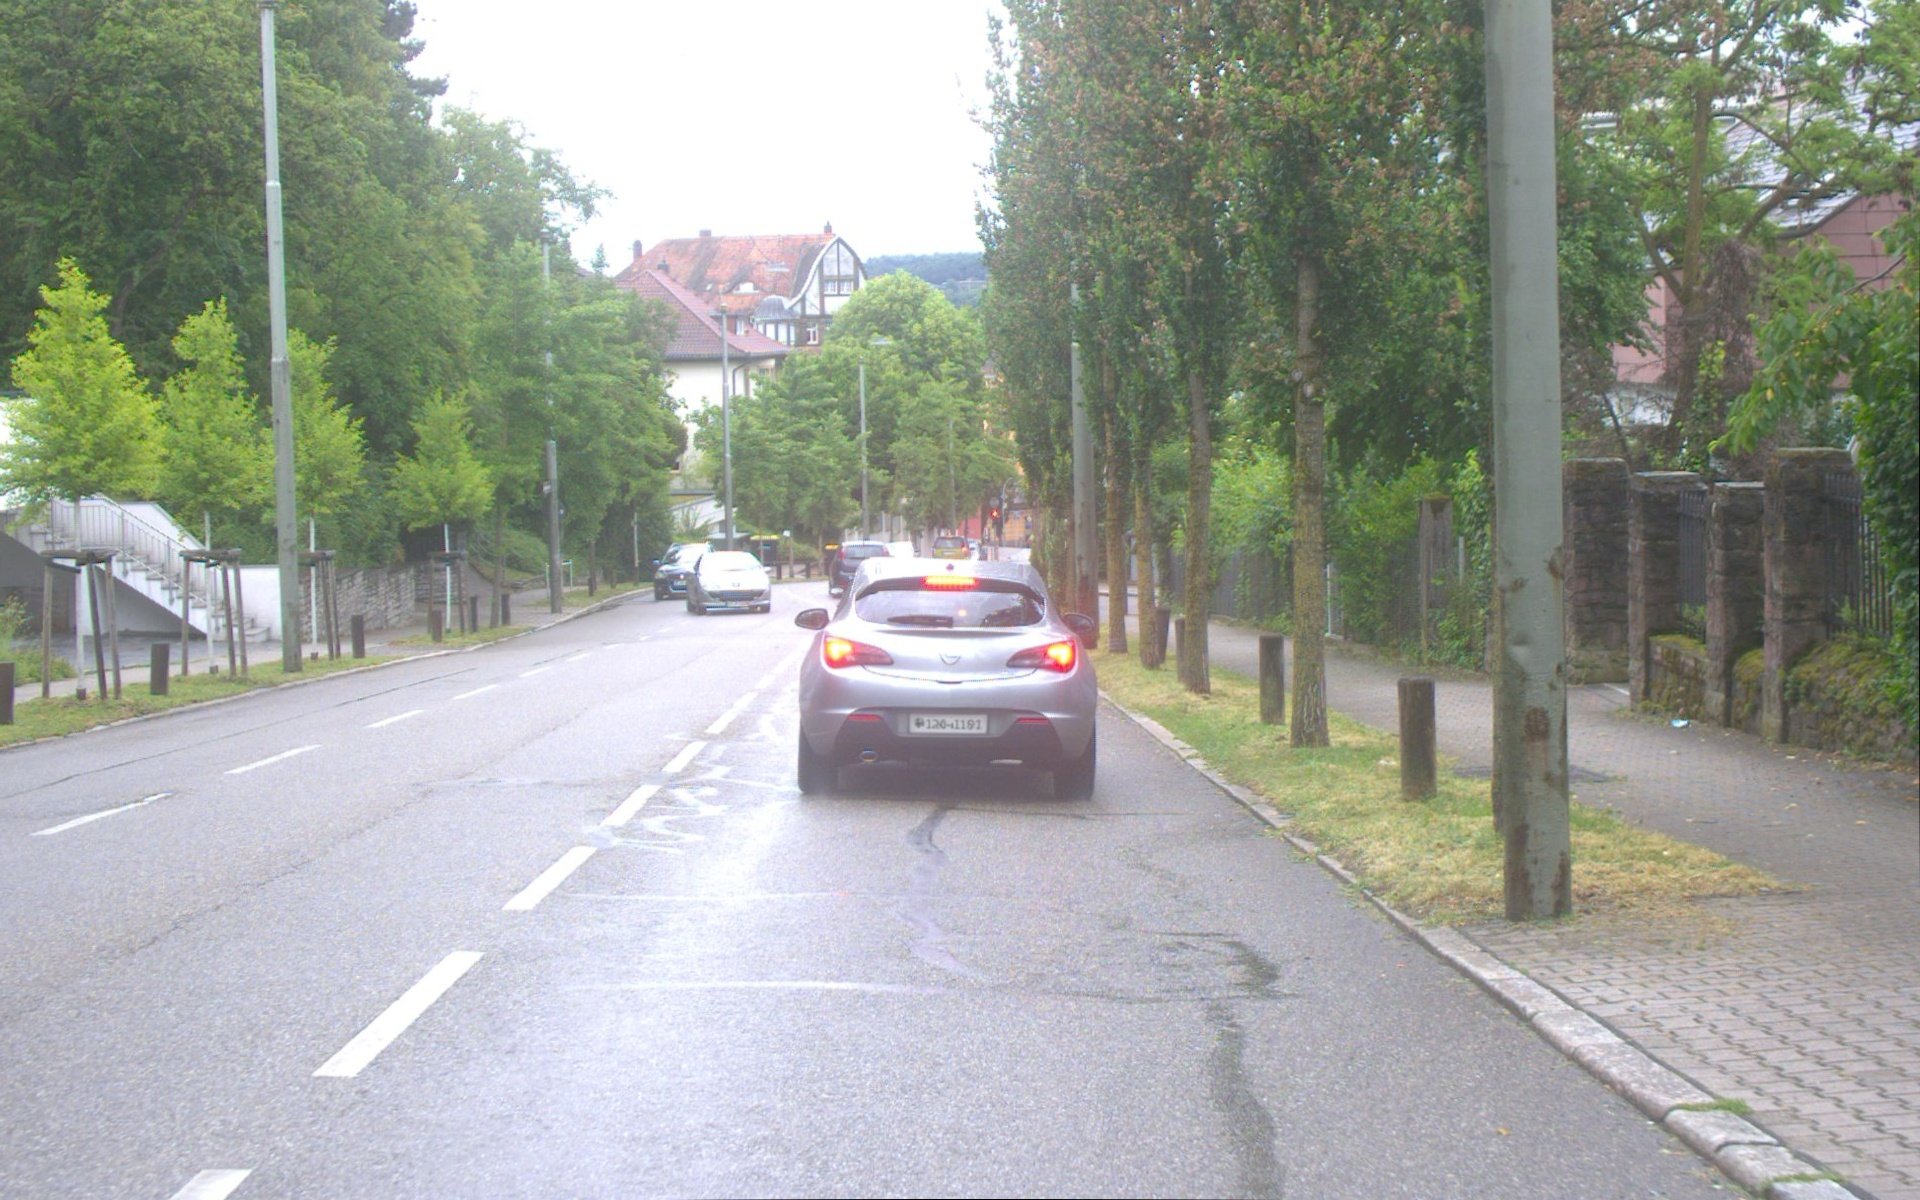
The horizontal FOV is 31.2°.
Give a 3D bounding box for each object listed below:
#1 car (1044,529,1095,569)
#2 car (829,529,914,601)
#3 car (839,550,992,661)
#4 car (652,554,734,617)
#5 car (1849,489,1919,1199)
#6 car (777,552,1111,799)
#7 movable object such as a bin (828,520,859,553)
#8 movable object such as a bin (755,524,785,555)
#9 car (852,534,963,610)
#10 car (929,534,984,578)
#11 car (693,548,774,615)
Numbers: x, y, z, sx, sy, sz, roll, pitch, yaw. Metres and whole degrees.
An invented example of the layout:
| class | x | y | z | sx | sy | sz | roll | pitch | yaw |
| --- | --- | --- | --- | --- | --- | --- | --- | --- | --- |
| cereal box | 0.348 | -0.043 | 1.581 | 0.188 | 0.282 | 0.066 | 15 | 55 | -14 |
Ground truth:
| class | x | y | z | sx | sy | sz | roll | pitch | yaw |
| --- | --- | --- | --- | --- | --- | --- | --- | --- | --- |
| car | 6.078 | -2.834 | 190.426 | 2.334 | 2.029 | 4.734 | 2 | 2 | 7 |
| car | -2.325 | -0.955 | 91.180 | 1.769 | 1.775 | 3.976 | 2 | 2 | 5 |
| car | -0.521 | 0.033 | 43.508 | 1.798 | 1.318 | 4.000 | 0 | 1 | 1 |
| car | -7.240 | -0.405 | 93.377 | 1.745 | 1.544 | 3.918 | -4 | 0 | 1 |
| car | 2.880 | 0.574 | 5.189 | 1.824 | 1.624 | 4.000 | -3 | 1 | -2 |
| car | -0.119 | 0.425 | 22.242 | 1.945 | 1.427 | 3.884 | 1 | 1 | -1 |
| movable object such as a bin | -4.984 | -2.707 | 146.805 | 1.272 | 1.382 | 0.489 | 1 | 2 | 5 |
| movable object such as a bin | -8.460 | -2.696 | 152.811 | 1.272 | 1.382 | 0.489 | 1 | 2 | 5 |
| car | -1.101 | -0.631 | 74.241 | 1.961 | 1.467 | 3.950 | 2 | 2 | 5 |
| car | -0.118 | -1.708 | 133.543 | 1.754 | 1.645 | 3.999 | 2 | 1 | 5 |
| car | -5.337 | -0.439 | 81.309 | 1.761 | 1.481 | 4.000 | -2 | 0 | -2 |
